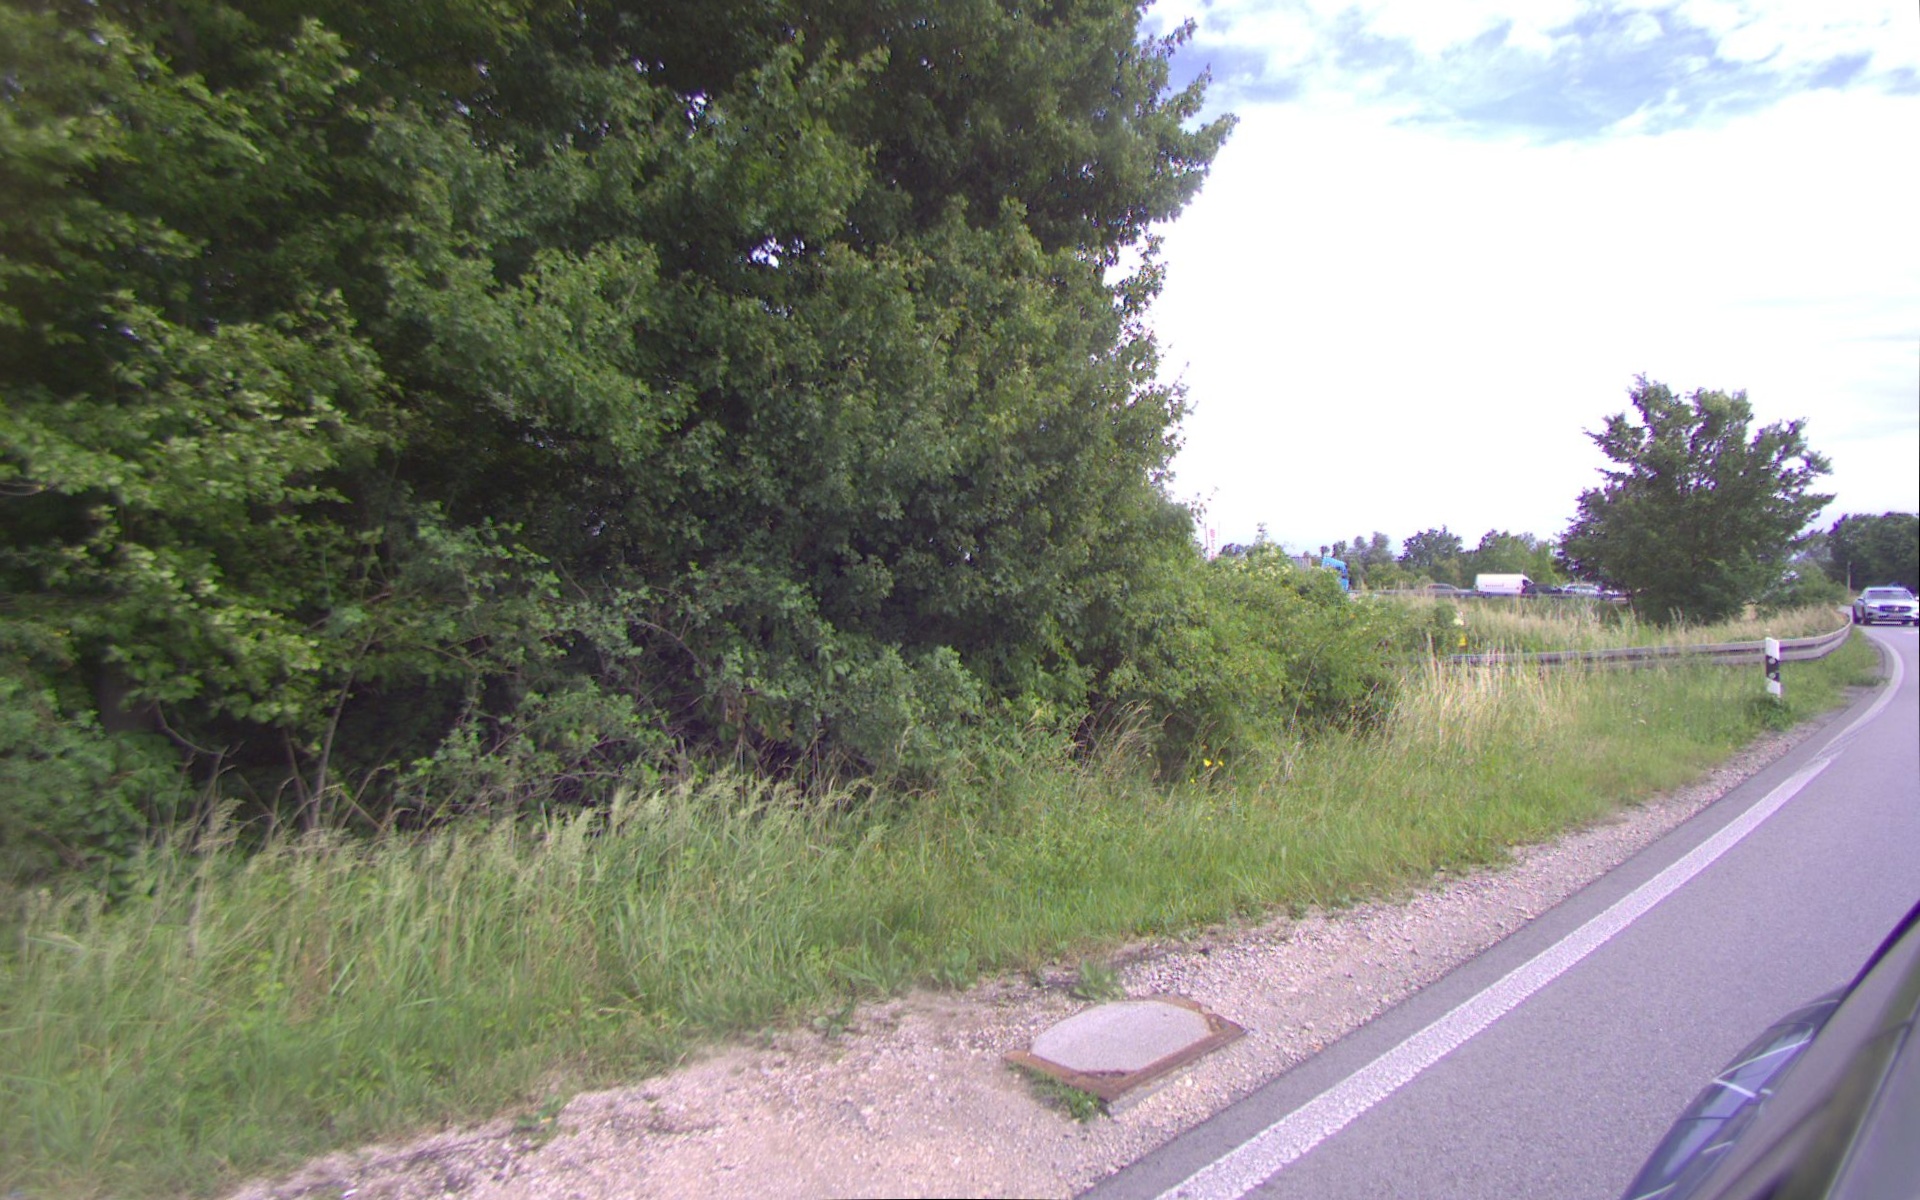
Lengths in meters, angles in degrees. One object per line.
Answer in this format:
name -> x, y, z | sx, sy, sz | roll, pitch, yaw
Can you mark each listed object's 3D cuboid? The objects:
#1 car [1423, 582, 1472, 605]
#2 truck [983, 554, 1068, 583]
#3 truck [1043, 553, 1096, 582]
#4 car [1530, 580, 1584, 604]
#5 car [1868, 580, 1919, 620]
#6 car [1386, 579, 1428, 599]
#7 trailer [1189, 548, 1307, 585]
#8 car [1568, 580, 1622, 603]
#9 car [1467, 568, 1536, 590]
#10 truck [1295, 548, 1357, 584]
car -> 45.083, -0.615, 93.613 | 3.961, 2.039, 1.913 | 2, 1, 27
truck -> 7.611, -3.656, 119.704 | 2.351, 3.093, 11.736 | 0, 0, -41
truck -> 12.343, -3.669, 114.339 | 2.351, 3.093, 5.975 | 0, 0, -42
car -> 52.414, -0.729, 88.931 | 3.961, 2.039, 1.913 | 2, 1, 27
car -> 40.189, -0.009, 43.062 | 2.011, 1.633, 4.221 | 0, 0, 38
car -> 46.389, -1.185, 105.083 | 3.961, 2.039, 1.913 | 0, 0, 27
trailer -> 28.467, -3.249, 100.237 | 11.109, 3.352, 2.372 | 0, 0, 24
car -> 57.637, -0.782, 91.913 | 3.964, 2.039, 1.980 | 1, 1, 29
car -> 52.257, -1.986, 97.794 | 5.839, 2.039, 2.042 | 0, 0, 27
truck -> 35.152, -3.249, 97.269 | 5.532, 3.347, 2.373 | 0, 0, 23
